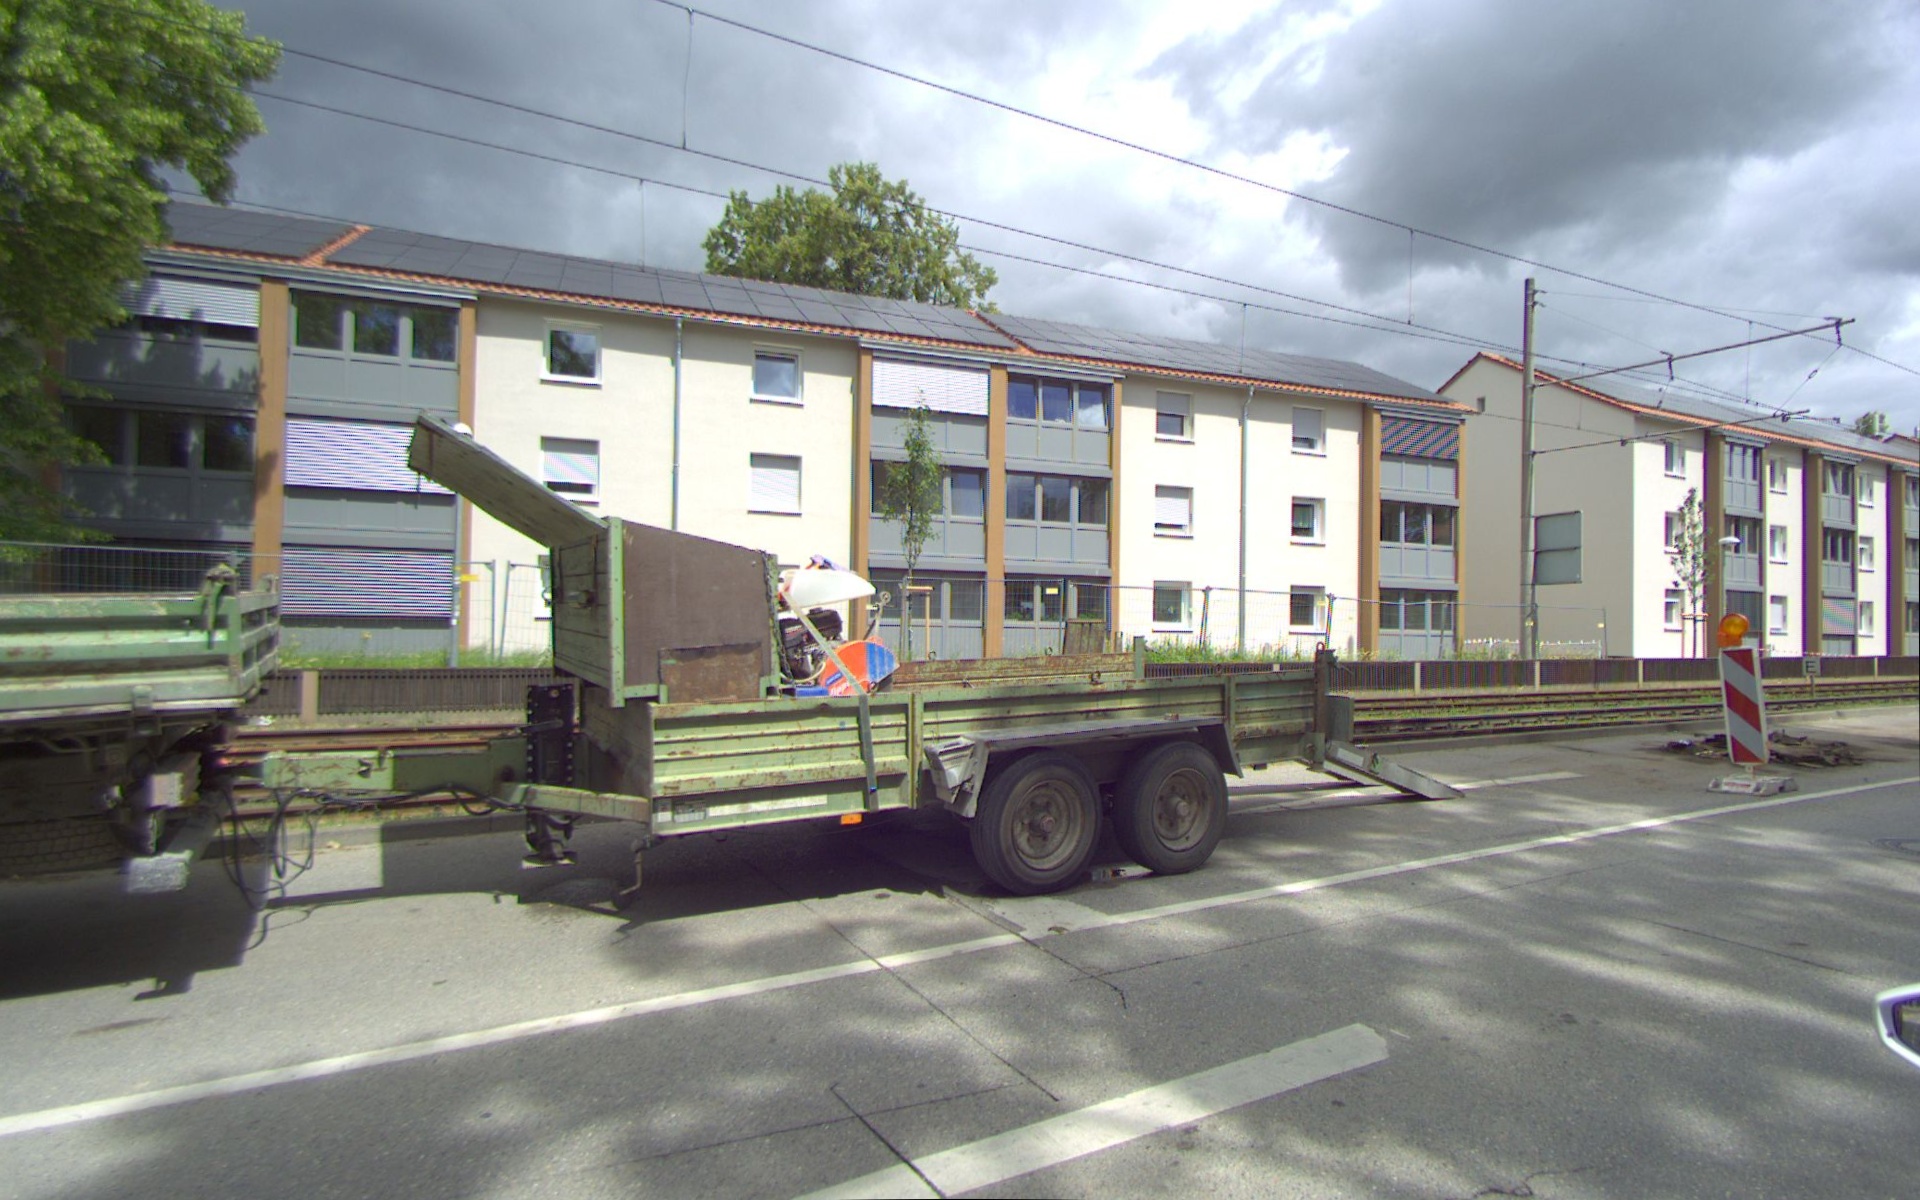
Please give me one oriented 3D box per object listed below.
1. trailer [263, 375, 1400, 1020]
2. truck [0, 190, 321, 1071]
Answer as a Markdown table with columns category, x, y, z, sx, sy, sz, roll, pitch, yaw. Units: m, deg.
| category | x | y | z | sx | sy | sz | roll | pitch | yaw |
| --- | --- | --- | --- | --- | --- | --- | --- | --- | --- |
| trailer | -0.414 | 0.369 | 6.221 | 6.175 | 2.243 | 2.649 | 1 | 0 | -31 |
| truck | -5.769 | 0.060 | 3.043 | 6.321 | 2.761 | 2.649 | 1 | 0 | -31 |
